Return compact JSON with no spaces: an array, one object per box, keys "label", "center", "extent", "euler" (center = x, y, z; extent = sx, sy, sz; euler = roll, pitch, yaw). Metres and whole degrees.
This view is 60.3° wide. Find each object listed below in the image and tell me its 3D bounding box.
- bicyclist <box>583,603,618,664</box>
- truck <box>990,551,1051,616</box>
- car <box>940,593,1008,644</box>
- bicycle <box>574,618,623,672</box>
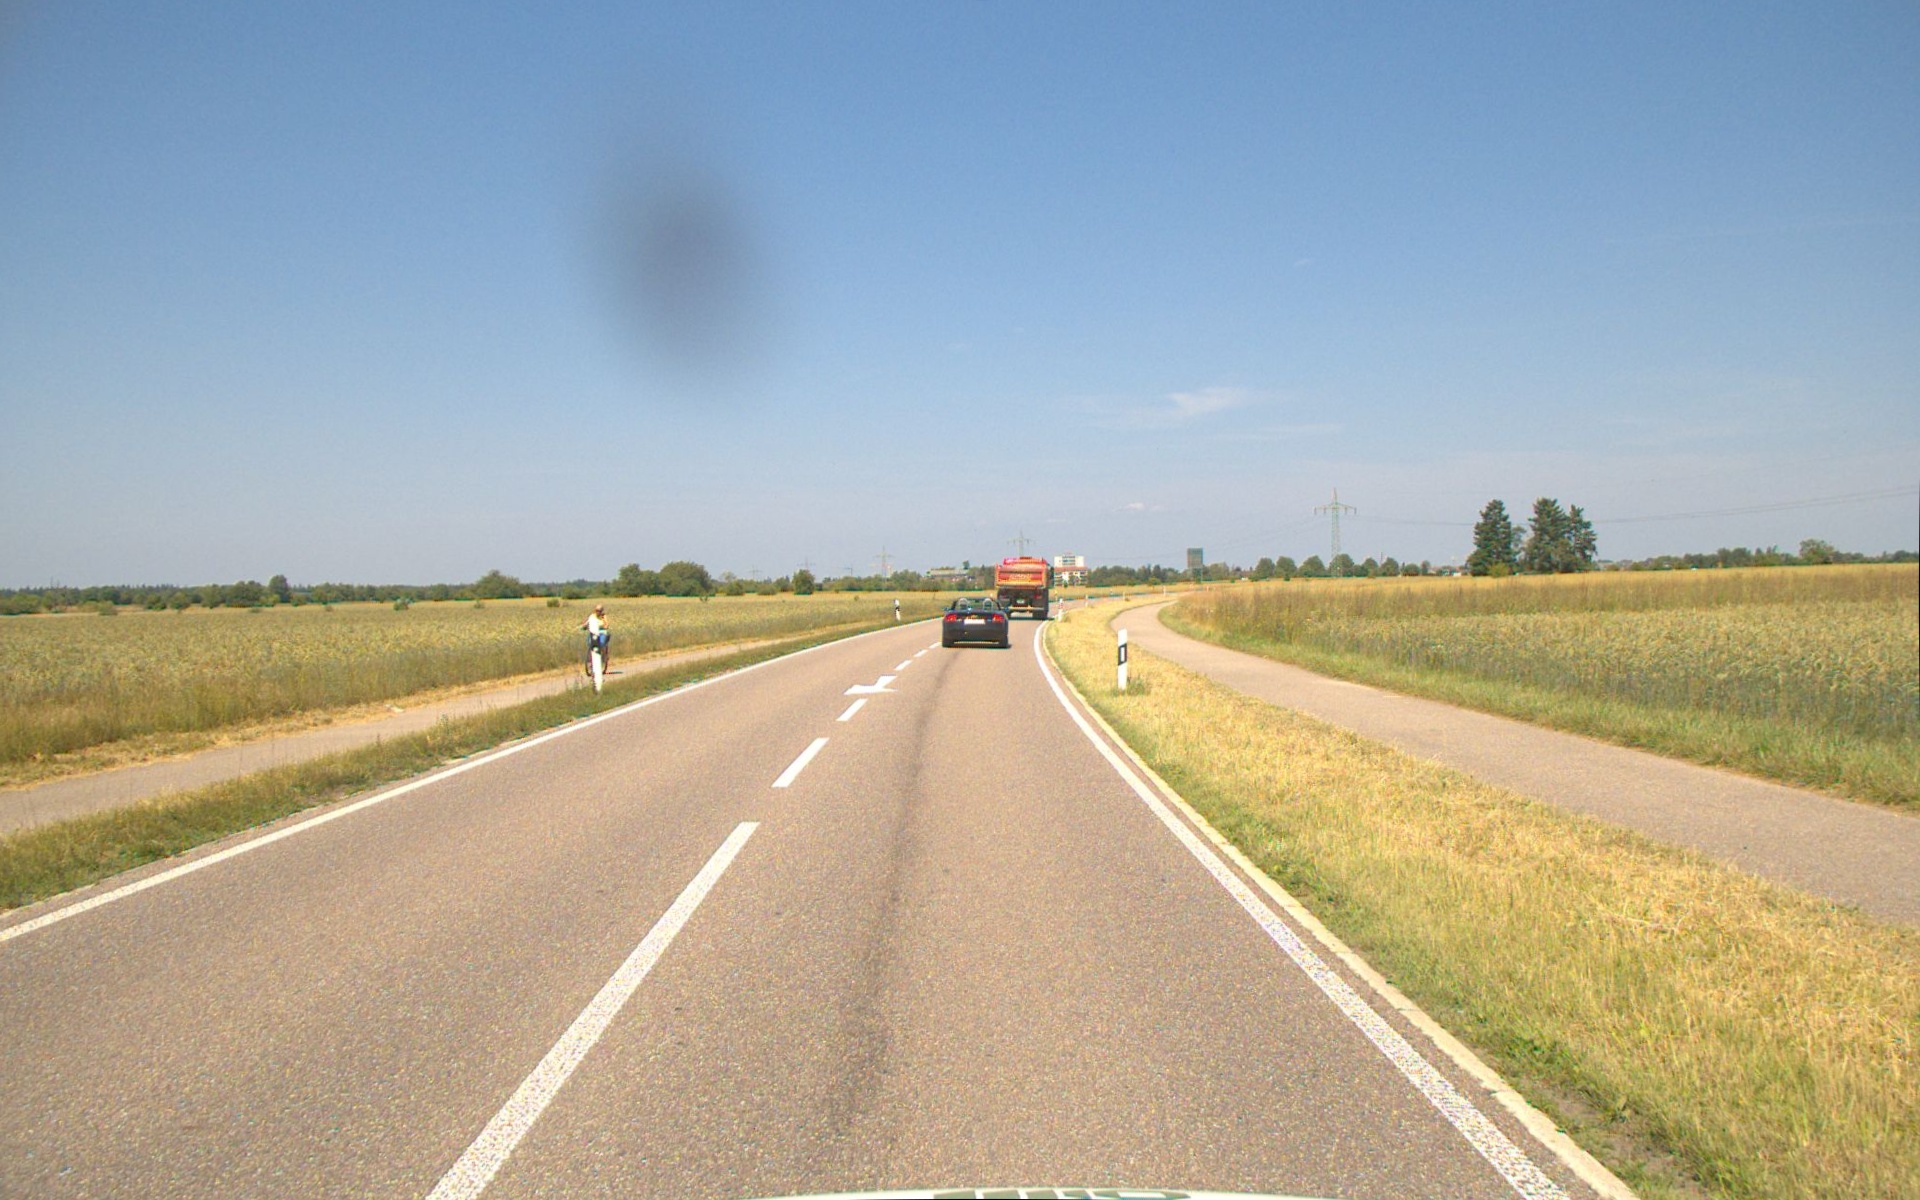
[{"label":"bicyclist","center":[-8.694,0.810,39.985],"extent":[0.650,1.463,0.823],"euler":[0,0,1]},{"label":"truck","center":[3.127,-0.785,83.761],"extent":[2.876,3.143,7.200],"euler":[0,0,4]},{"label":"car","center":[0.408,0.467,44.283],"extent":[1.707,1.302,4.001],"euler":[0,0,2]},{"label":"bicycle","center":[-8.695,1.068,39.820],"extent":[0.680,1.197,1.964],"euler":[-2,1,1]}]
